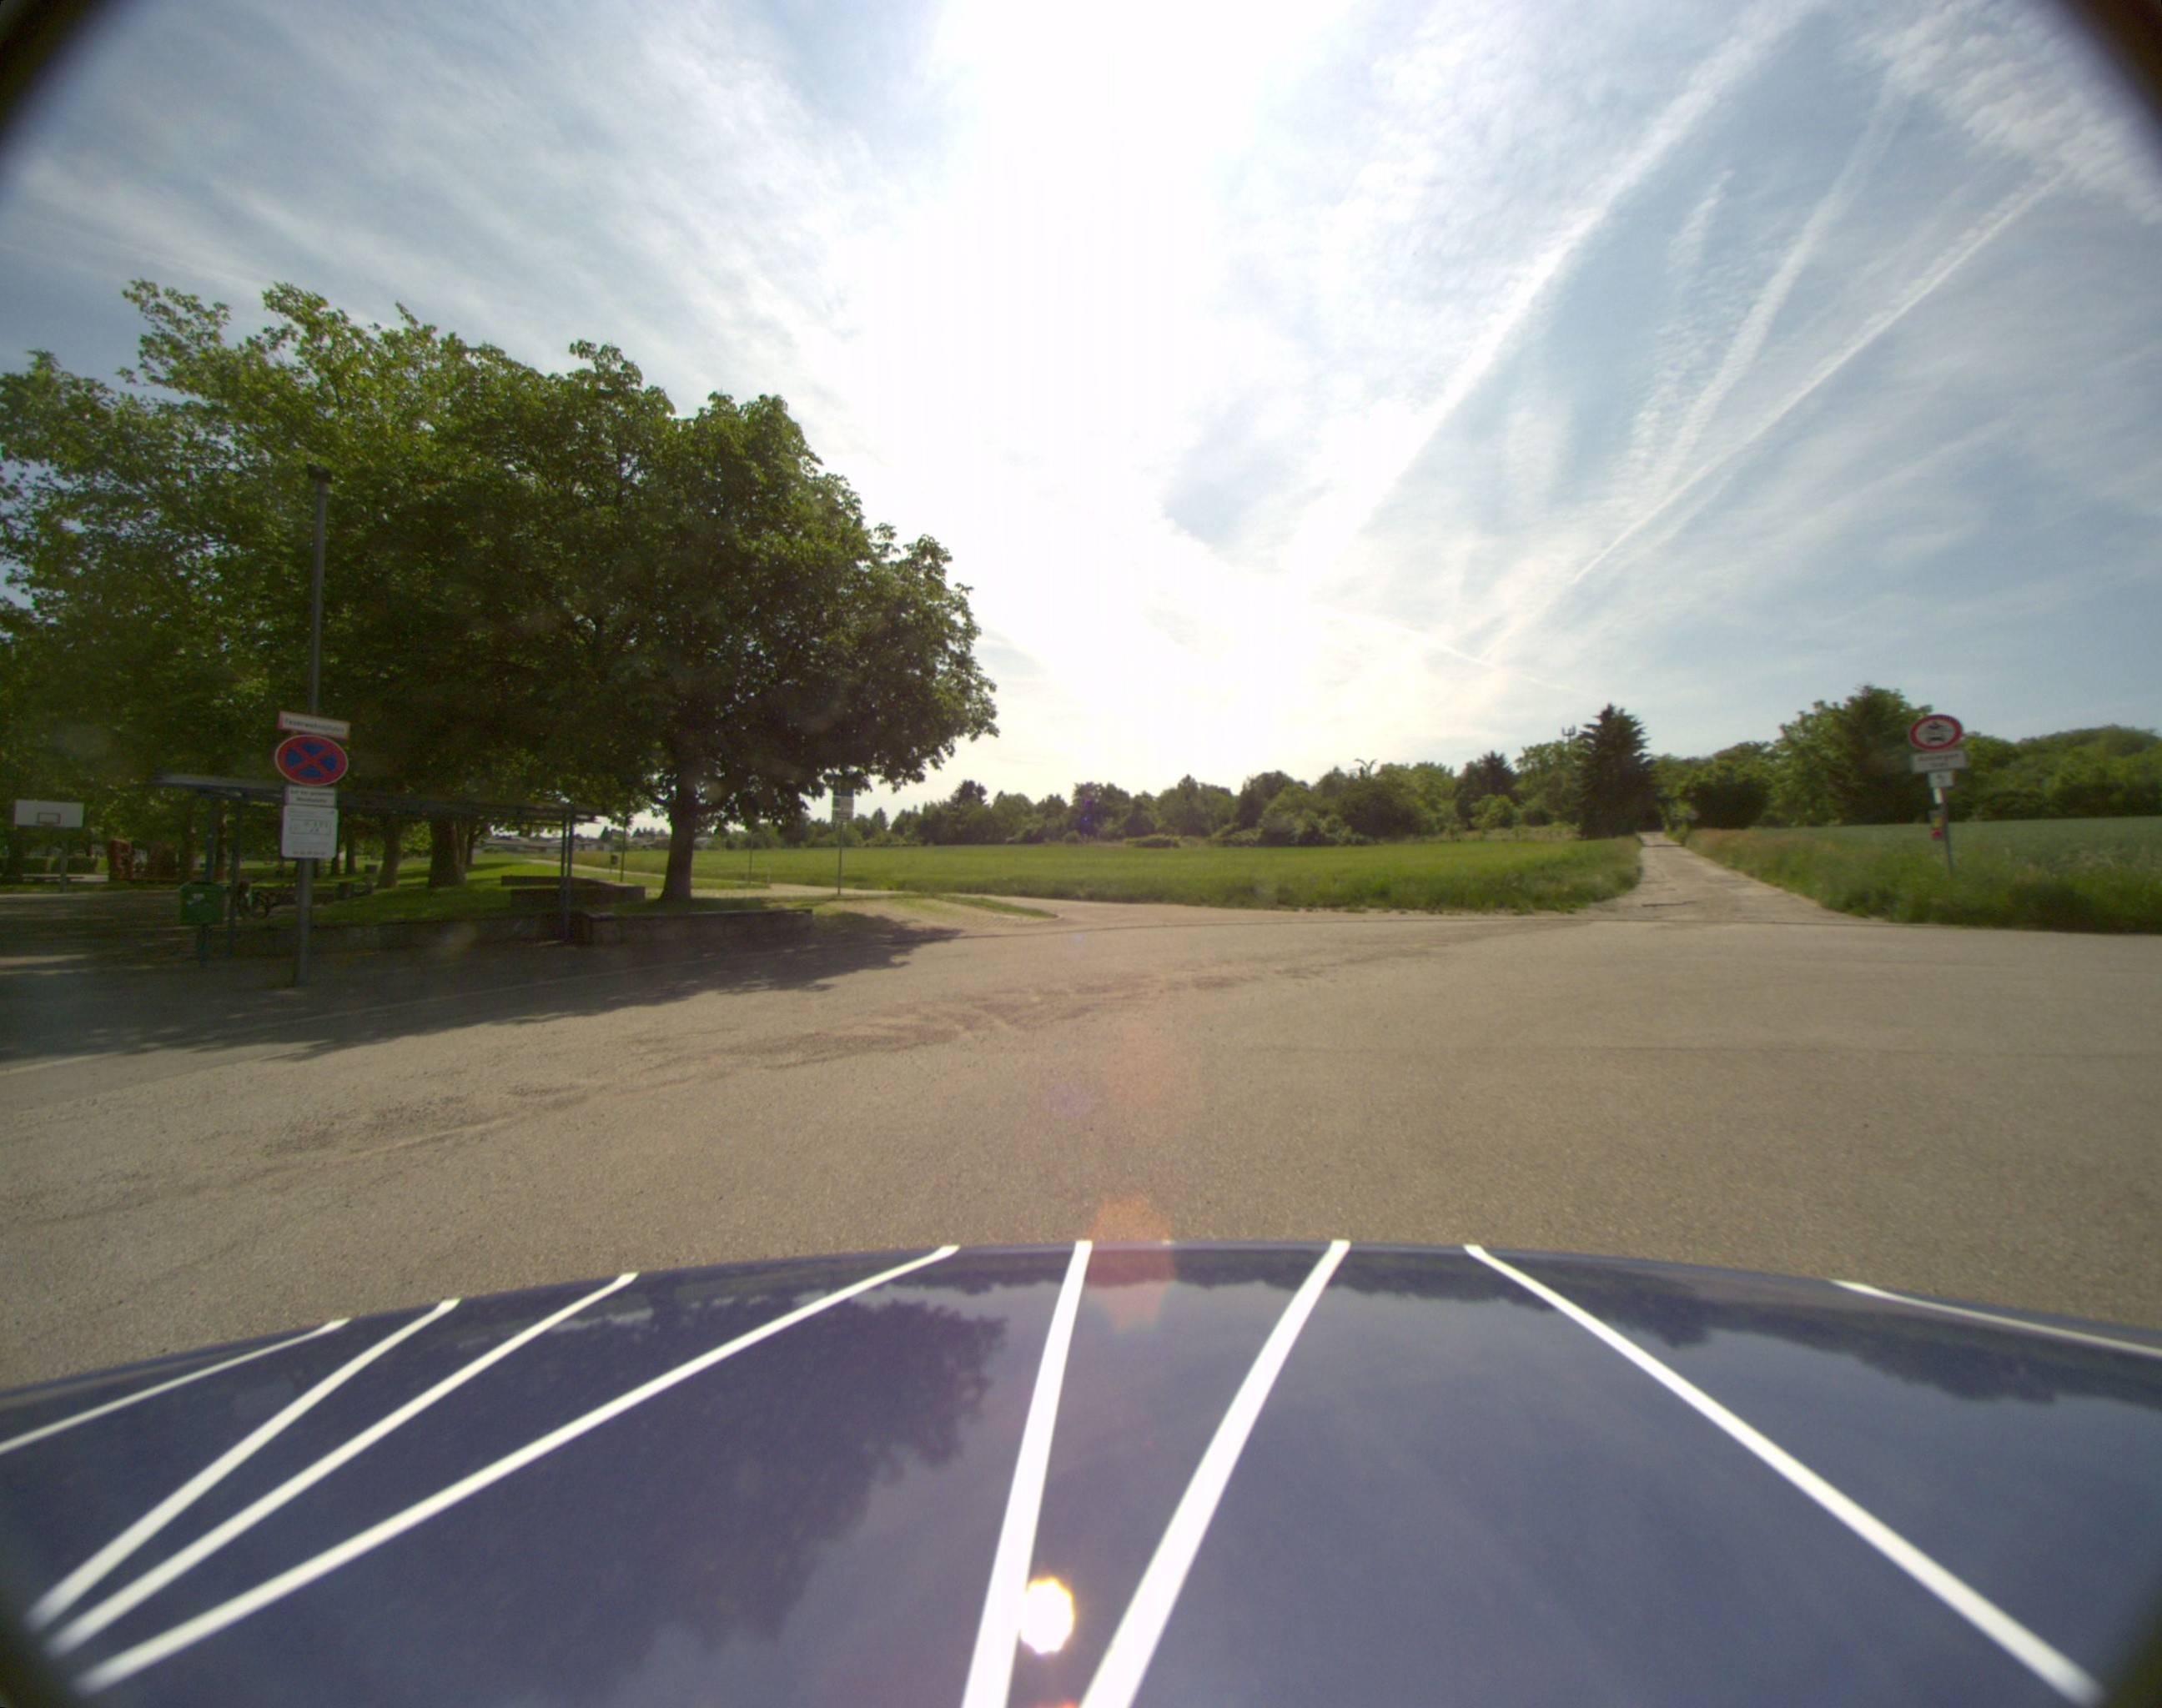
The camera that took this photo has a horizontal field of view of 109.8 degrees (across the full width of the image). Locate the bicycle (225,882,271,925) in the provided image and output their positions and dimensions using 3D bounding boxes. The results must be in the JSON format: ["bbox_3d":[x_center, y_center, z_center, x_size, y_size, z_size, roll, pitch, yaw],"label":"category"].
[{"bbox_3d":[-22.291,1.299,20.361,0.598,1.033,1.887,0,0,-40],"label":"bicycle"}]

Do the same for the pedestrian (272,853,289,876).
[{"bbox_3d":[-69.827,0.937,66.301,0.690,2.001,0.837,0,-1,26],"label":"pedestrian"}]

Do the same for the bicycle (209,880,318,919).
[{"bbox_3d":[-23.496,1.284,21.886,0.570,1.033,2.073,0,0,35],"label":"bicycle"}]
